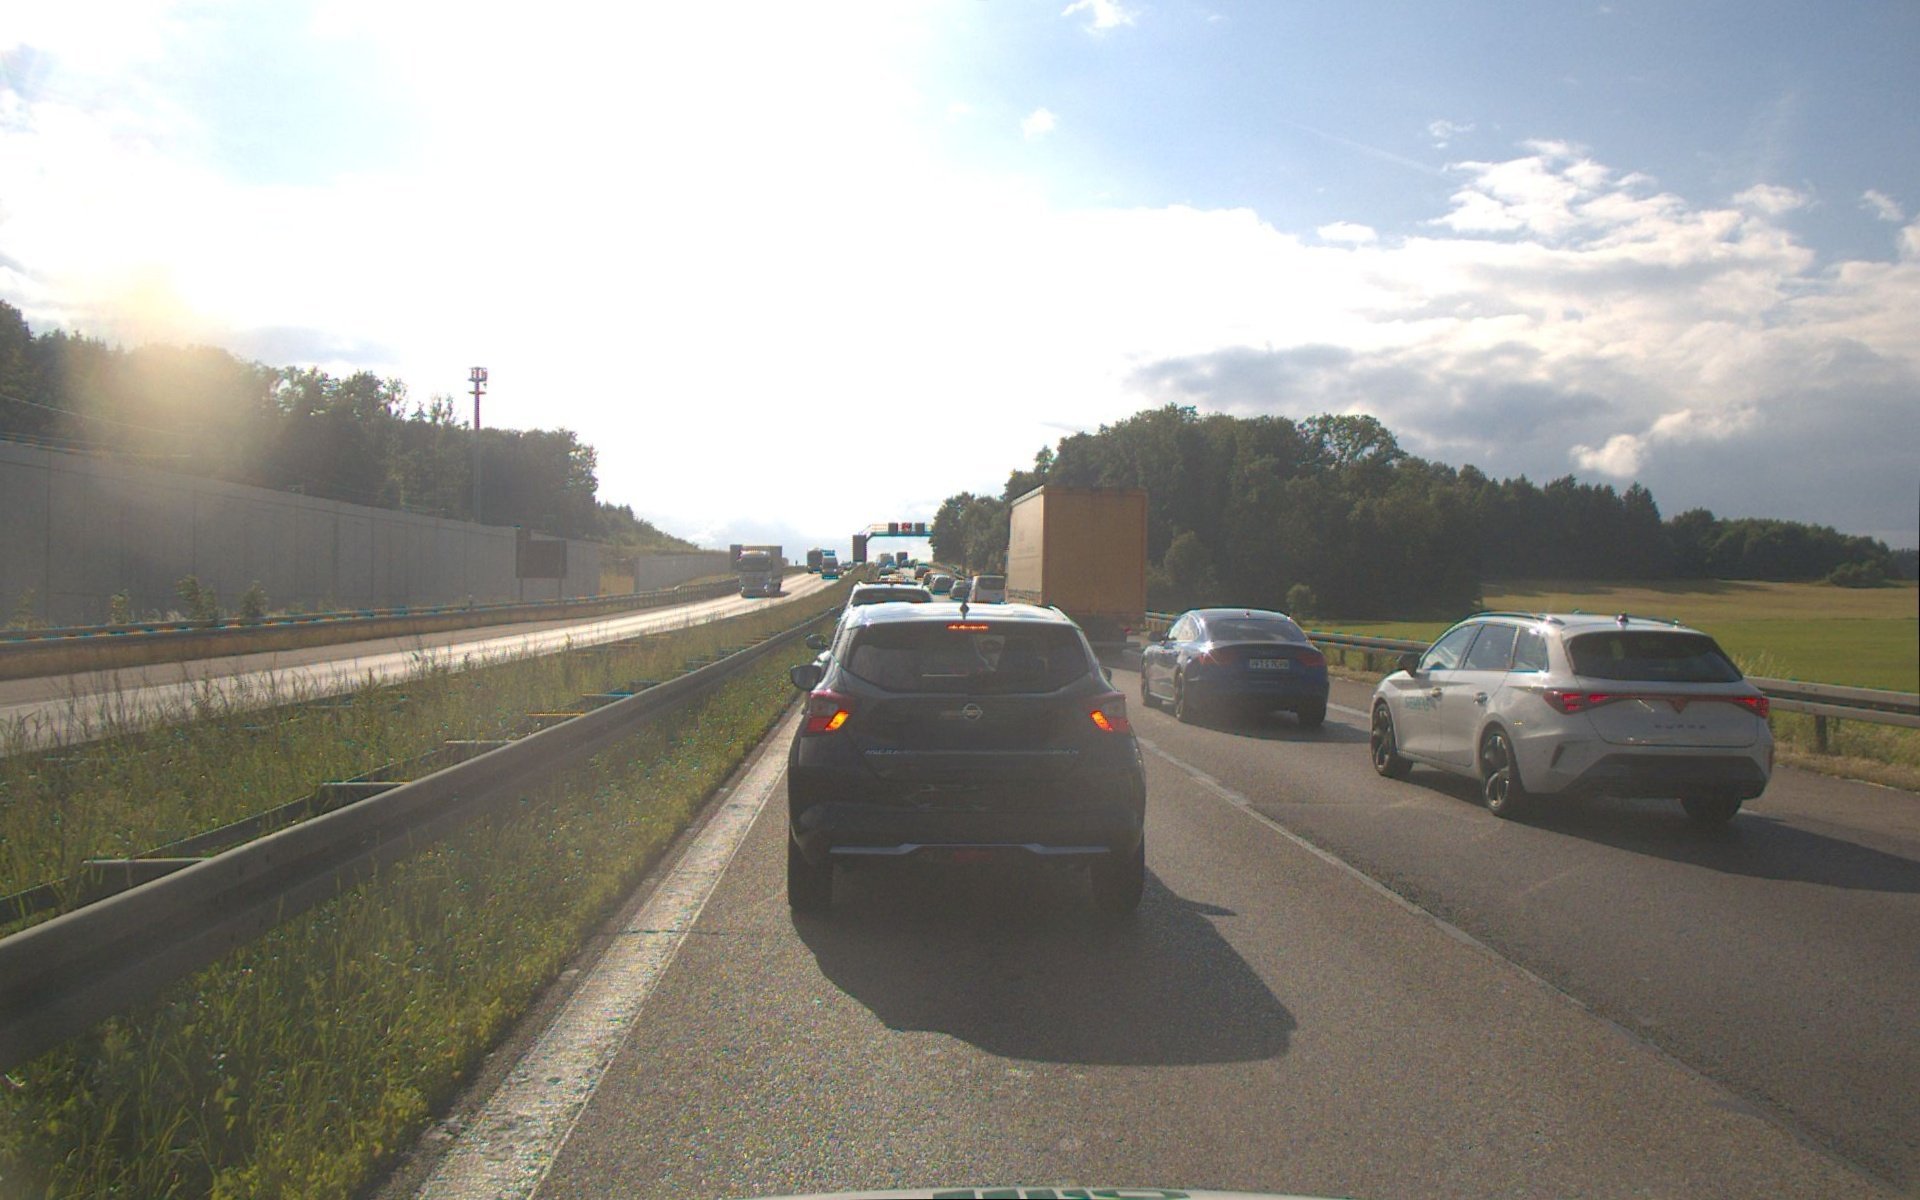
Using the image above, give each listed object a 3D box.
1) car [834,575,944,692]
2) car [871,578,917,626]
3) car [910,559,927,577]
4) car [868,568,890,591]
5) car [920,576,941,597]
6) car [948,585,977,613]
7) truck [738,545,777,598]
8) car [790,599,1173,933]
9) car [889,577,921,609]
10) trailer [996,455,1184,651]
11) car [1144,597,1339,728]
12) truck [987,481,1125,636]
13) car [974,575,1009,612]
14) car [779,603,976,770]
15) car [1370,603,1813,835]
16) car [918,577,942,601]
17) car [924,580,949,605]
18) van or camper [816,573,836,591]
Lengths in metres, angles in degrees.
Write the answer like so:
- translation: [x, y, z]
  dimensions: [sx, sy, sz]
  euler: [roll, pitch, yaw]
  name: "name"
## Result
- translation: [-1.124, 0.517, 26.966]
  dimensions: [1.640, 1.756, 3.595]
  euler: [1, 0, -1]
  name: "car"
- translation: [-2.962, 0.084, 73.950]
  dimensions: [1.954, 2.049, 3.997]
  euler: [1, 0, -3]
  name: "car"
- translation: [-5.009, -3.875, 199.284]
  dimensions: [1.954, 2.049, 3.997]
  euler: [1, 0, -3]
  name: "car"
- translation: [-7.552, -1.890, 153.988]
  dimensions: [1.954, 2.049, 3.997]
  euler: [1, 0, -3]
  name: "car"
- translation: [-3.013, -1.342, 166.729]
  dimensions: [1.954, 2.049, 3.997]
  euler: [1, 0, -3]
  name: "car"
- translation: [0.159, -0.038, 124.796]
  dimensions: [1.954, 2.049, 3.997]
  euler: [1, 0, -3]
  name: "car"
- translation: [-16.607, -2.306, 136.045]
  dimensions: [2.585, 4.169, 6.998]
  euler: [1, 0, -3]
  name: "truck"
- translation: [0.074, 0.745, 8.995]
  dimensions: [1.675, 1.451, 3.377]
  euler: [1, 0, -1]
  name: "car"
- translation: [-3.623, -0.461, 108.554]
  dimensions: [1.954, 2.049, 3.997]
  euler: [1, 0, -3]
  name: "car"
- translation: [3.194, -1.083, 45.223]
  dimensions: [3.478, 4.535, 12.714]
  euler: [1, 0, -3]
  name: "trailer"
- translation: [3.510, 0.743, 21.336]
  dimensions: [1.712, 1.501, 4.145]
  euler: [1, 0, -1]
  name: "car"
- translation: [2.859, -1.208, 51.625]
  dimensions: [3.511, 4.456, 6.684]
  euler: [1, 0, -3]
  name: "truck"
- translation: [1.561, -0.325, 83.105]
  dimensions: [1.633, 1.785, 3.326]
  euler: [1, 0, -1]
  name: "car"
- translation: [-0.740, 0.741, 15.749]
  dimensions: [1.640, 1.391, 3.595]
  euler: [1, 0, -1]
  name: "car"
- translation: [4.575, 0.778, 12.692]
  dimensions: [1.588, 1.471, 4.143]
  euler: [1, 0, -4]
  name: "car"
- translation: [-2.745, -0.982, 150.631]
  dimensions: [1.954, 2.049, 3.997]
  euler: [1, 0, -3]
  name: "car"
- translation: [-2.069, -0.611, 142.421]
  dimensions: [1.954, 2.049, 3.997]
  euler: [1, 0, -3]
  name: "car"
- translation: [-17.239, -2.308, 213.258]
  dimensions: [2.122, 2.244, 6.257]
  euler: [1, 0, -1]
  name: "van or camper"
